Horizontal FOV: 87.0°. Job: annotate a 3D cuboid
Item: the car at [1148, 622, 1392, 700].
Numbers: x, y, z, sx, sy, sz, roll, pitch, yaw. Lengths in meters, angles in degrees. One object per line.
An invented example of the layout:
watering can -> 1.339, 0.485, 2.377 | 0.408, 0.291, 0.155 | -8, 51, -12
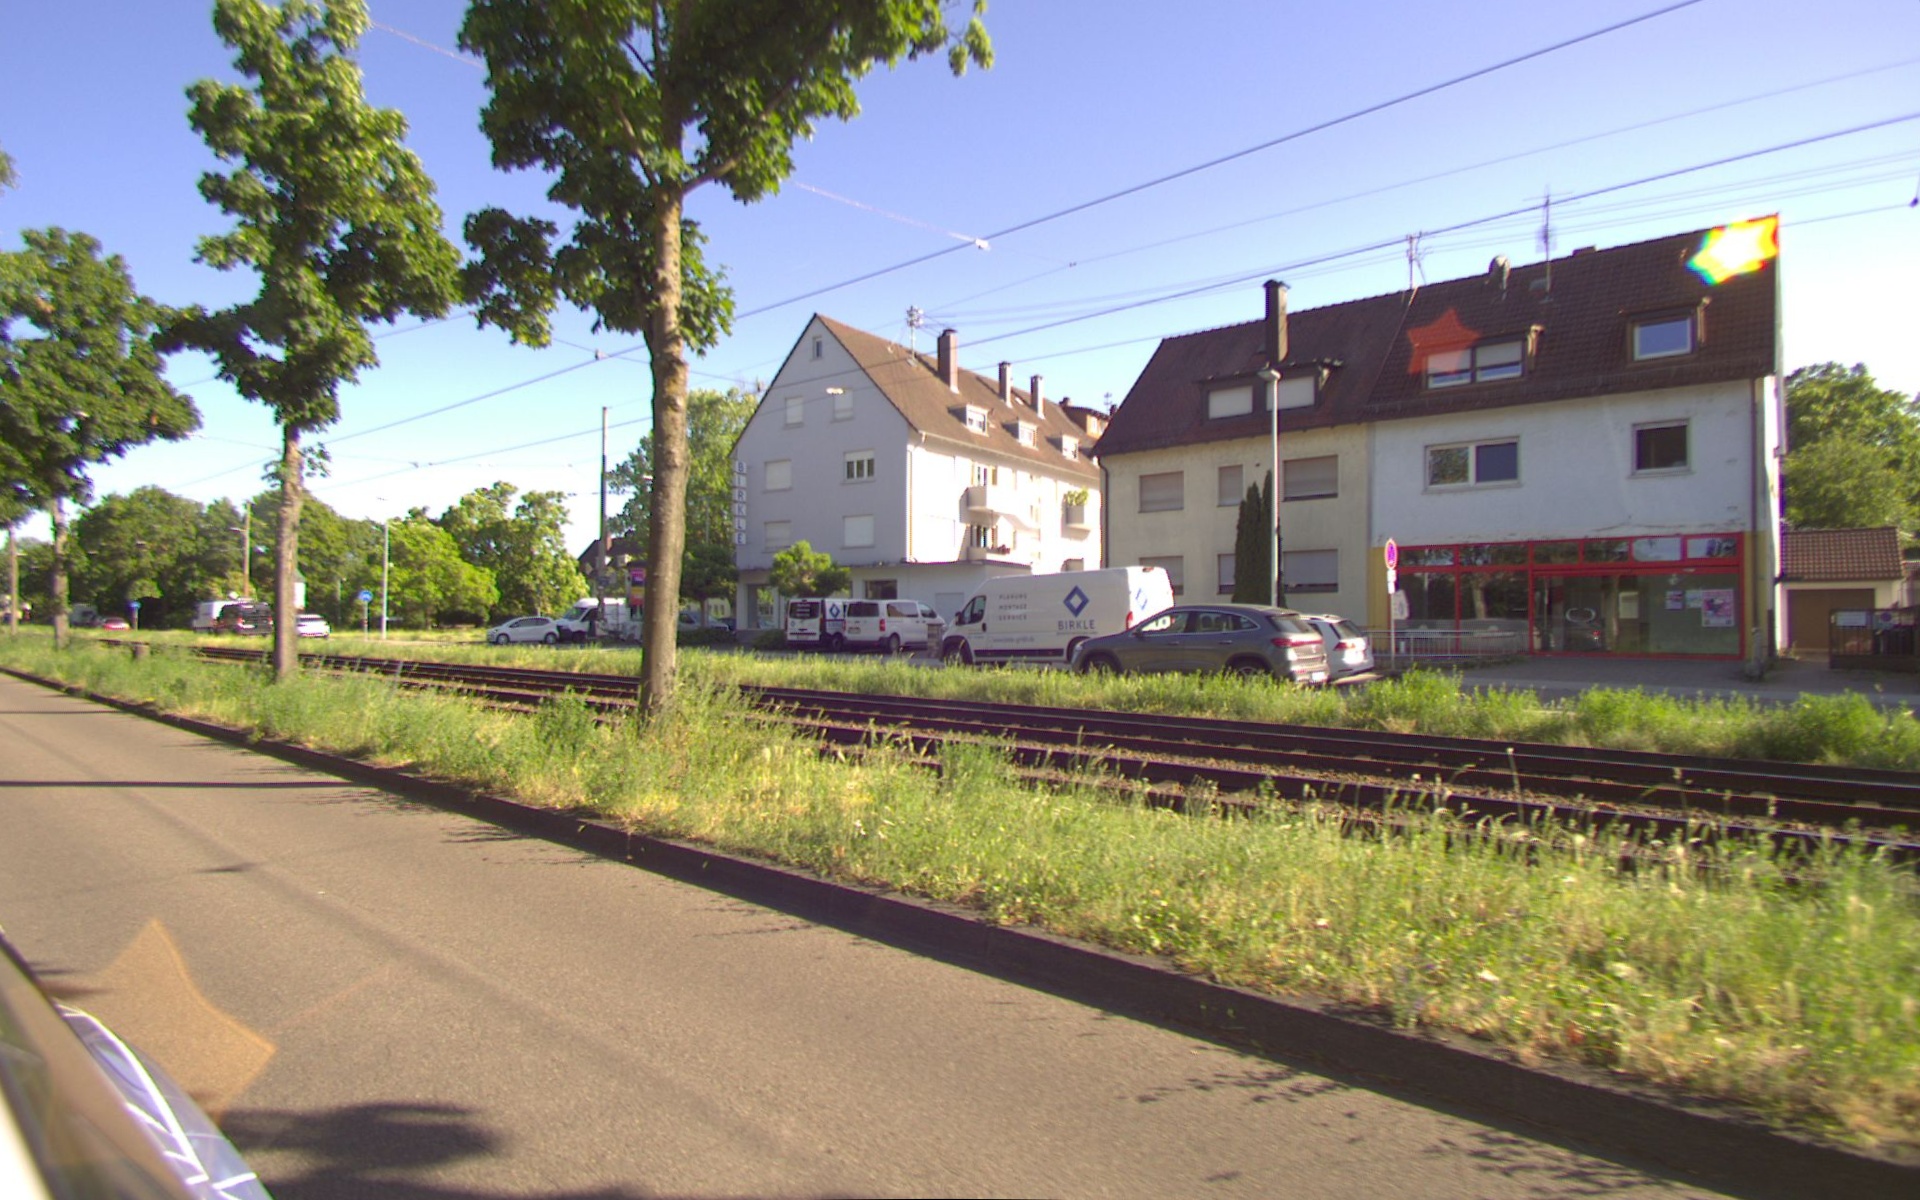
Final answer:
car -> 6.505, 1.210, 21.559 | 4.655, 1.423, 1.806 | 0, 0, 41

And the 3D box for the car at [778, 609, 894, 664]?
car -> -4.588, 1.319, 38.201 | 1.992, 1.960, 4.585 | -1, -1, 30

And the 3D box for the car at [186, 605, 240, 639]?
car -> -57.418, 1.669, 77.734 | 6.133, 2.515, 1.981 | 0, 0, 41

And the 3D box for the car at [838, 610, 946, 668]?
car -> -2.413, 1.355, 36.777 | 1.992, 1.967, 4.108 | -1, -1, 30

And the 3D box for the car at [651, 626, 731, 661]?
car -> -14.104, 2.253, 53.079 | 4.087, 1.683, 1.781 | 0, 0, 33

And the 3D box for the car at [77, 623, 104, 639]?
car -> -95.022, 3.353, 110.555 | 4.530, 1.635, 1.605 | 0, 0, 41

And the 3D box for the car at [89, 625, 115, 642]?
car -> -89.576, 3.459, 105.638 | 4.248, 1.596, 1.656 | 0, 0, 43

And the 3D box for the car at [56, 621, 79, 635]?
car -> -109.263, 3.428, 123.864 | 4.282, 1.575, 1.748 | 0, 0, 43

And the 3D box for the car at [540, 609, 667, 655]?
car -> -20.869, 1.815, 59.626 | 2.326, 2.526, 7.002 | -1, -1, 36

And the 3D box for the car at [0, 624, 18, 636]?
car -> -119.884, 3.747, 127.176 | 3.750, 1.543, 1.972 | -1, -2, 42

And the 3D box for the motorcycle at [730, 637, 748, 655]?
motorcycle -> -10.593, 2.186, 48.431 | 0.310, 0.858, 0.883 | -1, -2, 33

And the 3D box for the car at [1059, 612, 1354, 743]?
car -> 4.054, 1.169, 17.144 | 4.523, 1.897, 1.895 | 0, 0, 42

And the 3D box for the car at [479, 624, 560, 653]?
car -> -23.225, 2.000, 53.397 | 3.567, 1.489, 1.754 | 1, -2, -38

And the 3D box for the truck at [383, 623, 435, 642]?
truck -> -60.637, 3.581, 111.465 | 2.069, 1.883, 4.907 | 0, 0, 21

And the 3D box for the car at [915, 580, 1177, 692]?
car -> 1.982, 0.811, 25.397 | 6.671, 2.478, 1.973 | 0, 0, 41

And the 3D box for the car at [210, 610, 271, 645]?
car -> -51.478, 1.904, 72.369 | 6.462, 2.394, 2.160 | 0, 0, 41

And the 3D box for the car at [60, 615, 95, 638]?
car -> -100.676, 3.008, 115.418 | 6.795, 2.600, 2.202 | -1, -1, 41

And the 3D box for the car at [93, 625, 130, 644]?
car -> -66.788, 2.701, 79.625 | 3.998, 1.420, 1.659 | -1, -2, 41

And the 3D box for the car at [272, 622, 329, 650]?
car -> -41.504, 2.245, 63.686 | 4.772, 1.619, 1.804 | 0, 0, 42
